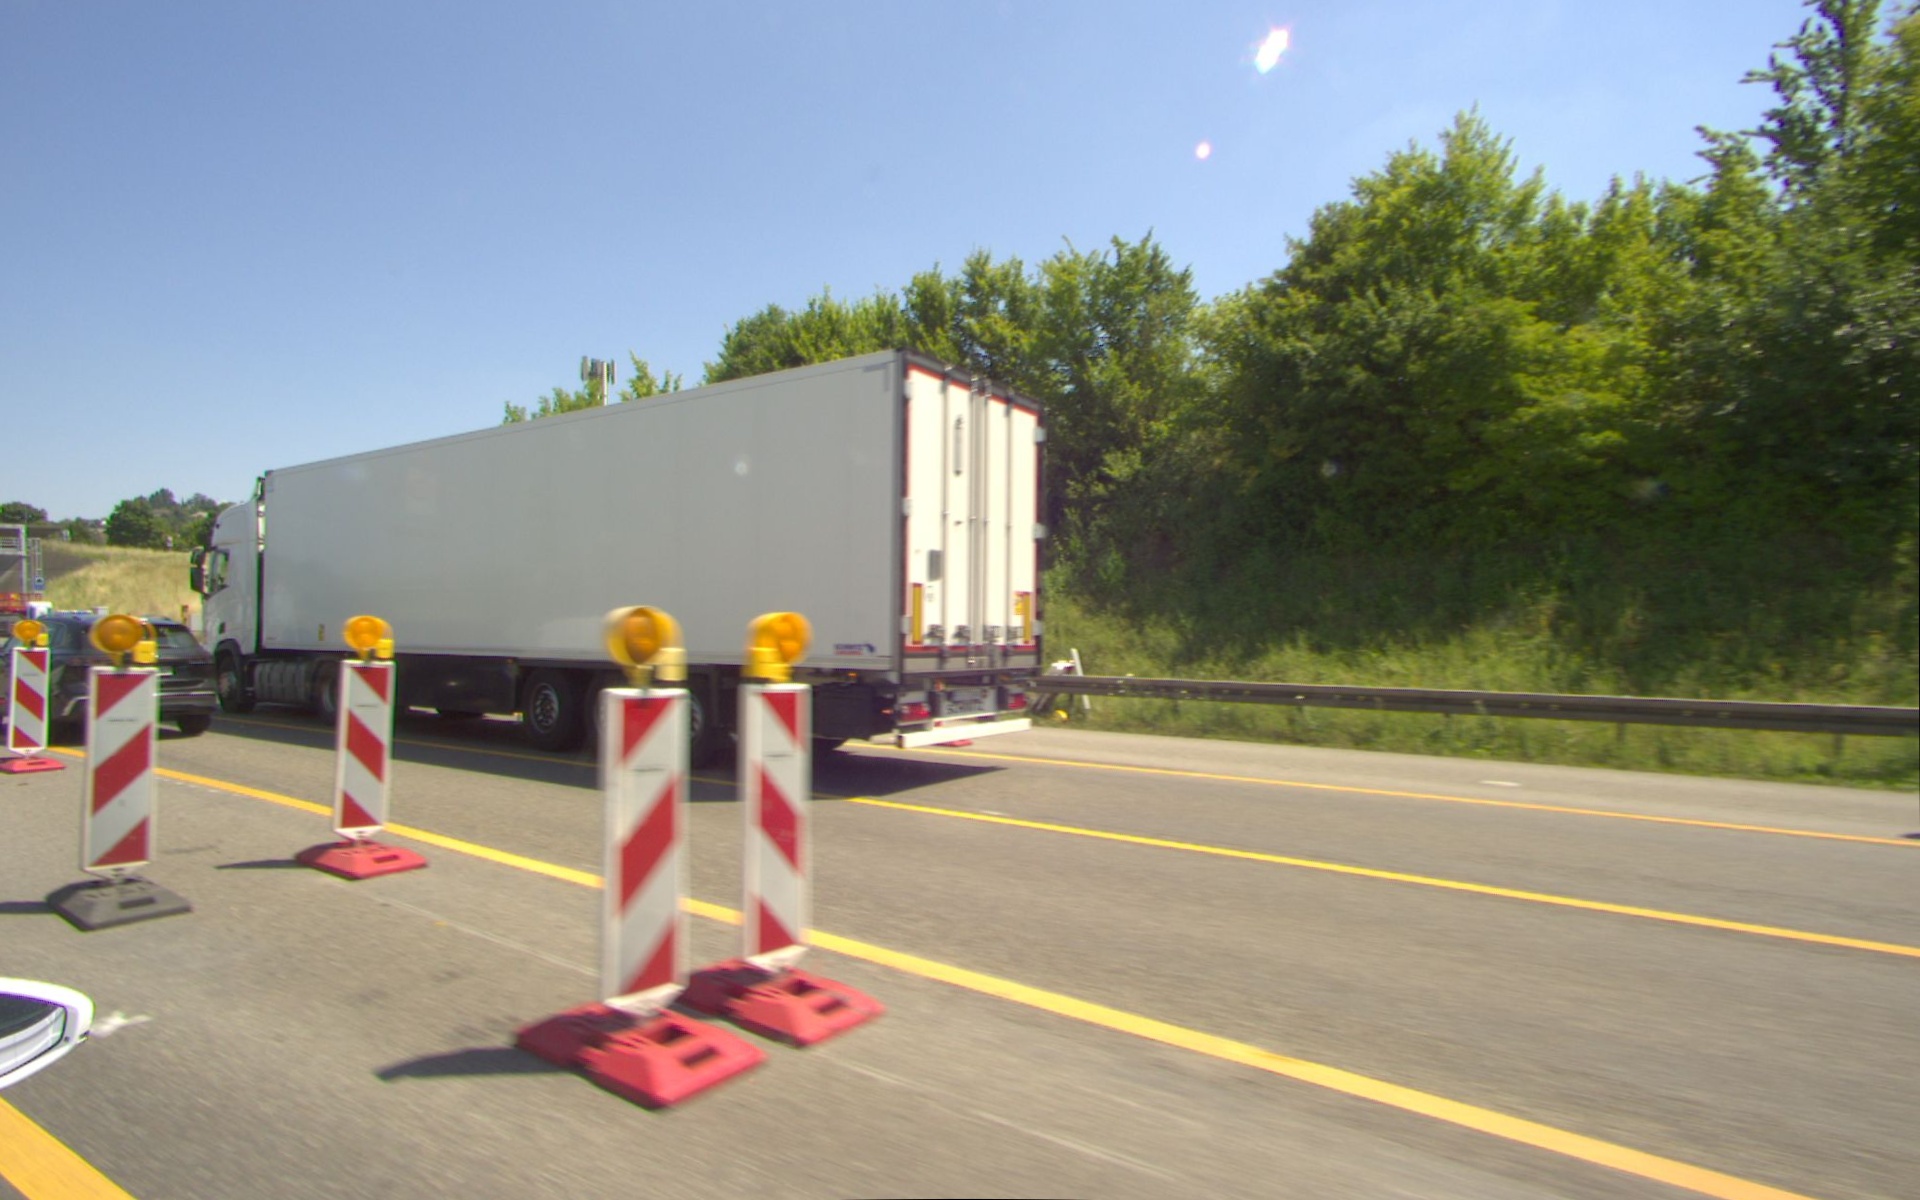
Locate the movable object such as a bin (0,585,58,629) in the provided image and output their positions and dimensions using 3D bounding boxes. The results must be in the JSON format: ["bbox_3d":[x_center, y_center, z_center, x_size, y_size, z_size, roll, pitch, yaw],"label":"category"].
[{"bbox_3d":[-73.410,0.544,77.160,14.513,3.051,3.099,-1,1,37],"label":"movable object such as a bin"}]

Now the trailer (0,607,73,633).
[{"bbox_3d":[-62.587,1.316,67.539,6.148,1.590,2.588,0,1,33],"label":"trailer"}]

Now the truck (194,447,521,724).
[{"bbox_3d":[-10.663,-0.148,17.578,5.845,4.085,2.738,-1,-1,34],"label":"truck"}]

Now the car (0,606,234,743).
[{"bbox_3d":[-12.089,0.948,14.038,4.133,1.651,1.811,-1,-1,34],"label":"car"}]

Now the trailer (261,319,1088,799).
[{"bbox_3d":[-5.071,-0.243,13.687,13.904,4.114,2.725,-1,-1,35],"label":"trailer"}]
